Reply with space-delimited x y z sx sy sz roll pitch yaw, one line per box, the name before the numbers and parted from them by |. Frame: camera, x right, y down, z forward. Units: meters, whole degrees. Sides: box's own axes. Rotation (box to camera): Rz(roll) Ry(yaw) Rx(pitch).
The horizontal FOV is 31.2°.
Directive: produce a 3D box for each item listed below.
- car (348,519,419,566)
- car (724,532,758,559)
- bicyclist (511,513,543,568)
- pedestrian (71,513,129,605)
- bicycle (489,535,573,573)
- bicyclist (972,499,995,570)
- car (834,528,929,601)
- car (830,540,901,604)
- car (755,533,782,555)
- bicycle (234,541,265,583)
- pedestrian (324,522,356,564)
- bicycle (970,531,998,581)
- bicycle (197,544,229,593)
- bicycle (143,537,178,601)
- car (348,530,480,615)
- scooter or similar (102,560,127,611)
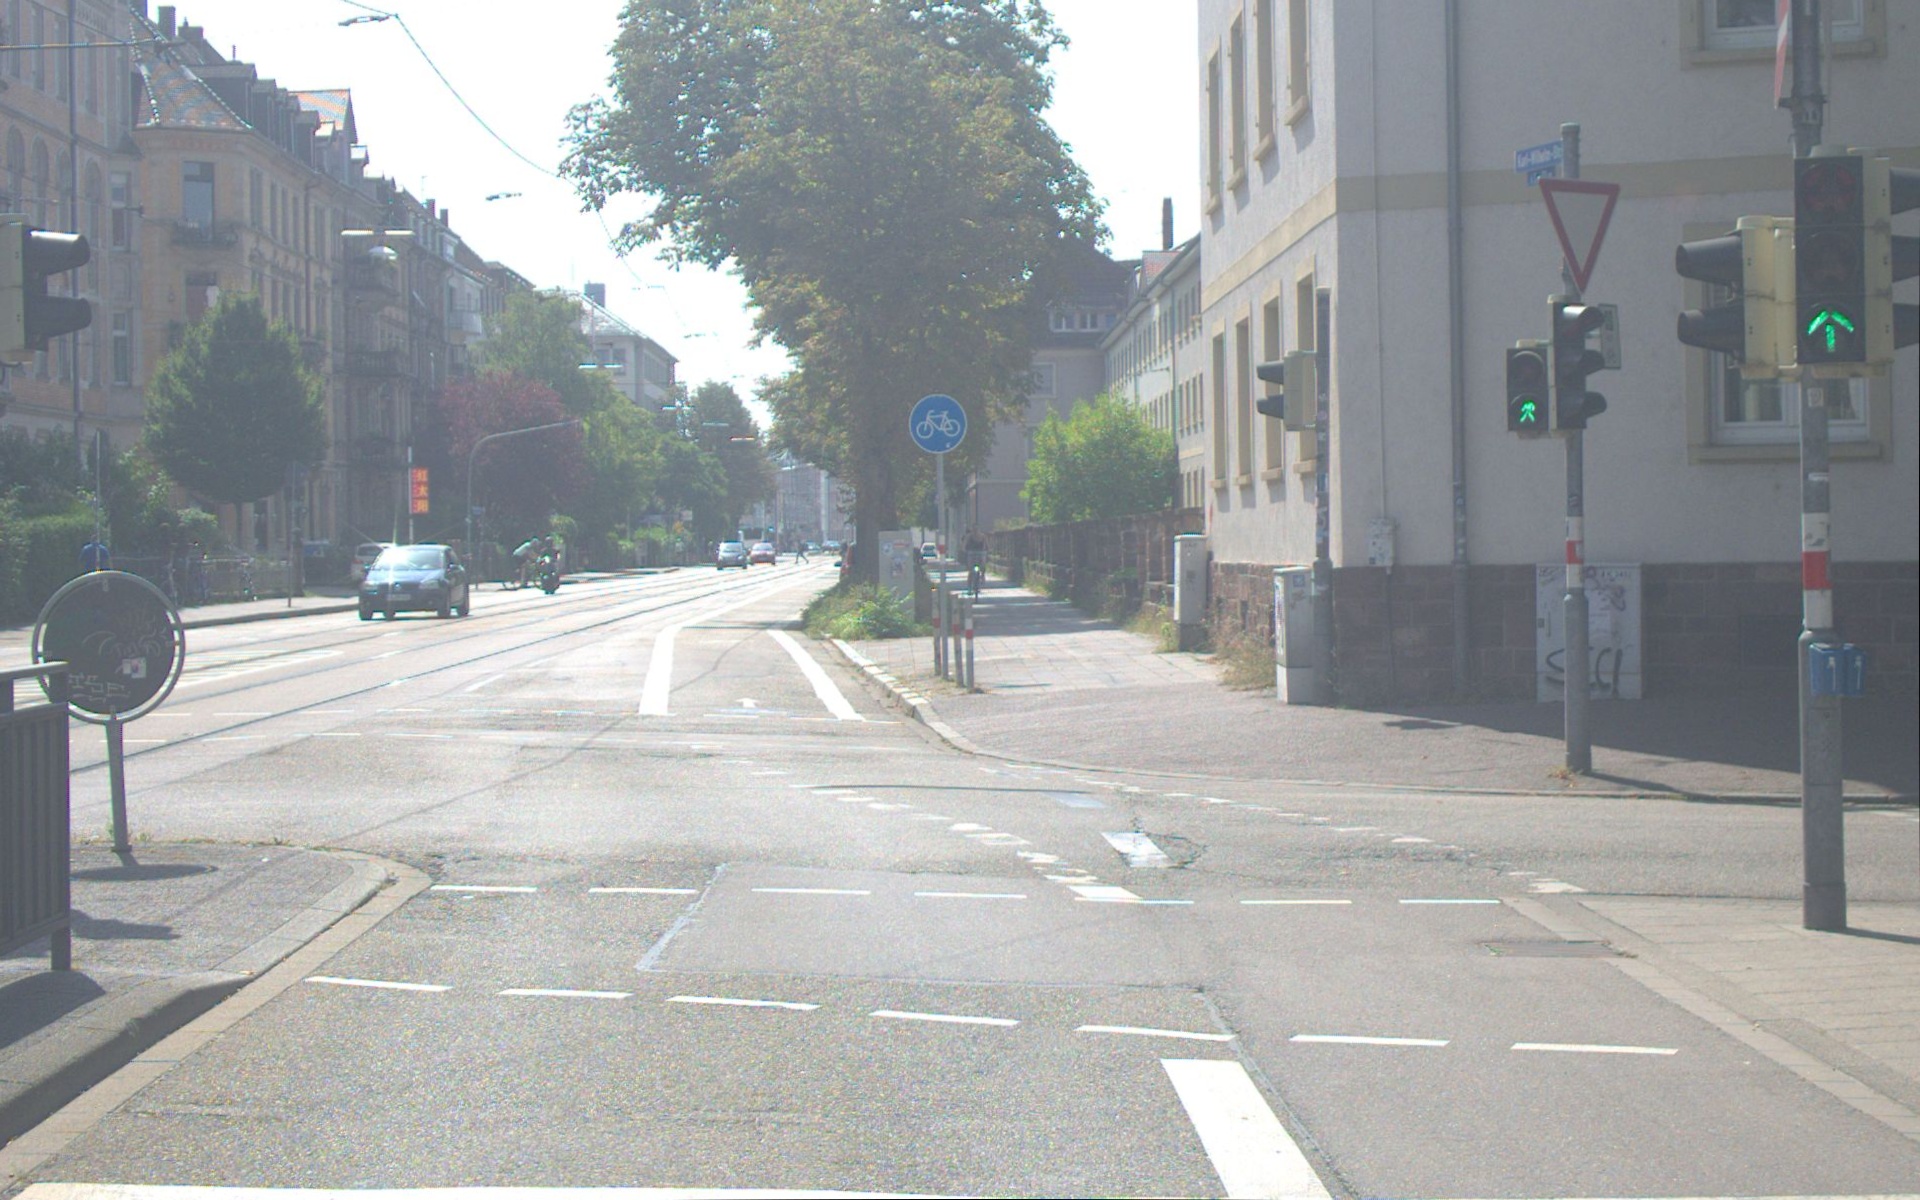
car | -19.907 -1.987 118.816 1.993 1.589 4.360 -1 1 -4
car | -12.971 -3.238 204.102 1.827 1.535 4.000 -1 1 -1
bicyclist | -14.572 -1.999 115.752 0.952 1.830 1.129 -1 0 -12
pedestrian | -16.659 -0.796 66.610 0.883 1.750 0.870 -1 1 -1
bicycle | -14.457 -1.554 115.787 2.702 1.265 1.152 -1 1 -12
bicyclist | 0.495 -1.405 73.585 0.437 1.507 0.472 -1 1 -4
car | -1.696 -0.793 75.248 1.617 1.525 3.498 -2 1 6
car | -2.268 -0.695 83.423 1.617 1.472 4.039 -2 1 -1
car | -13.135 -3.867 236.080 1.732 1.485 4.000 -1 1 -1
bicycle | -17.713 -0.955 85.699 0.390 1.035 1.833 0 1 0
pedestrian | -22.619 -2.081 125.408 0.883 1.506 0.870 -1 1 -32
bicycle | 0.513 -0.937 73.398 0.440 1.043 1.829 -1 1 -4
bicycle | -17.432 -0.741 80.224 0.390 1.144 1.582 0 1 0
bicycle | -17.624 -0.688 75.765 0.390 1.401 1.582 0 1 0
car | -10.977 -0.585 69.336 1.727 1.428 4.177 5 3 2
scooter or similar | -16.220 -0.282 65.953 0.400 0.979 0.585 1 0 -9
